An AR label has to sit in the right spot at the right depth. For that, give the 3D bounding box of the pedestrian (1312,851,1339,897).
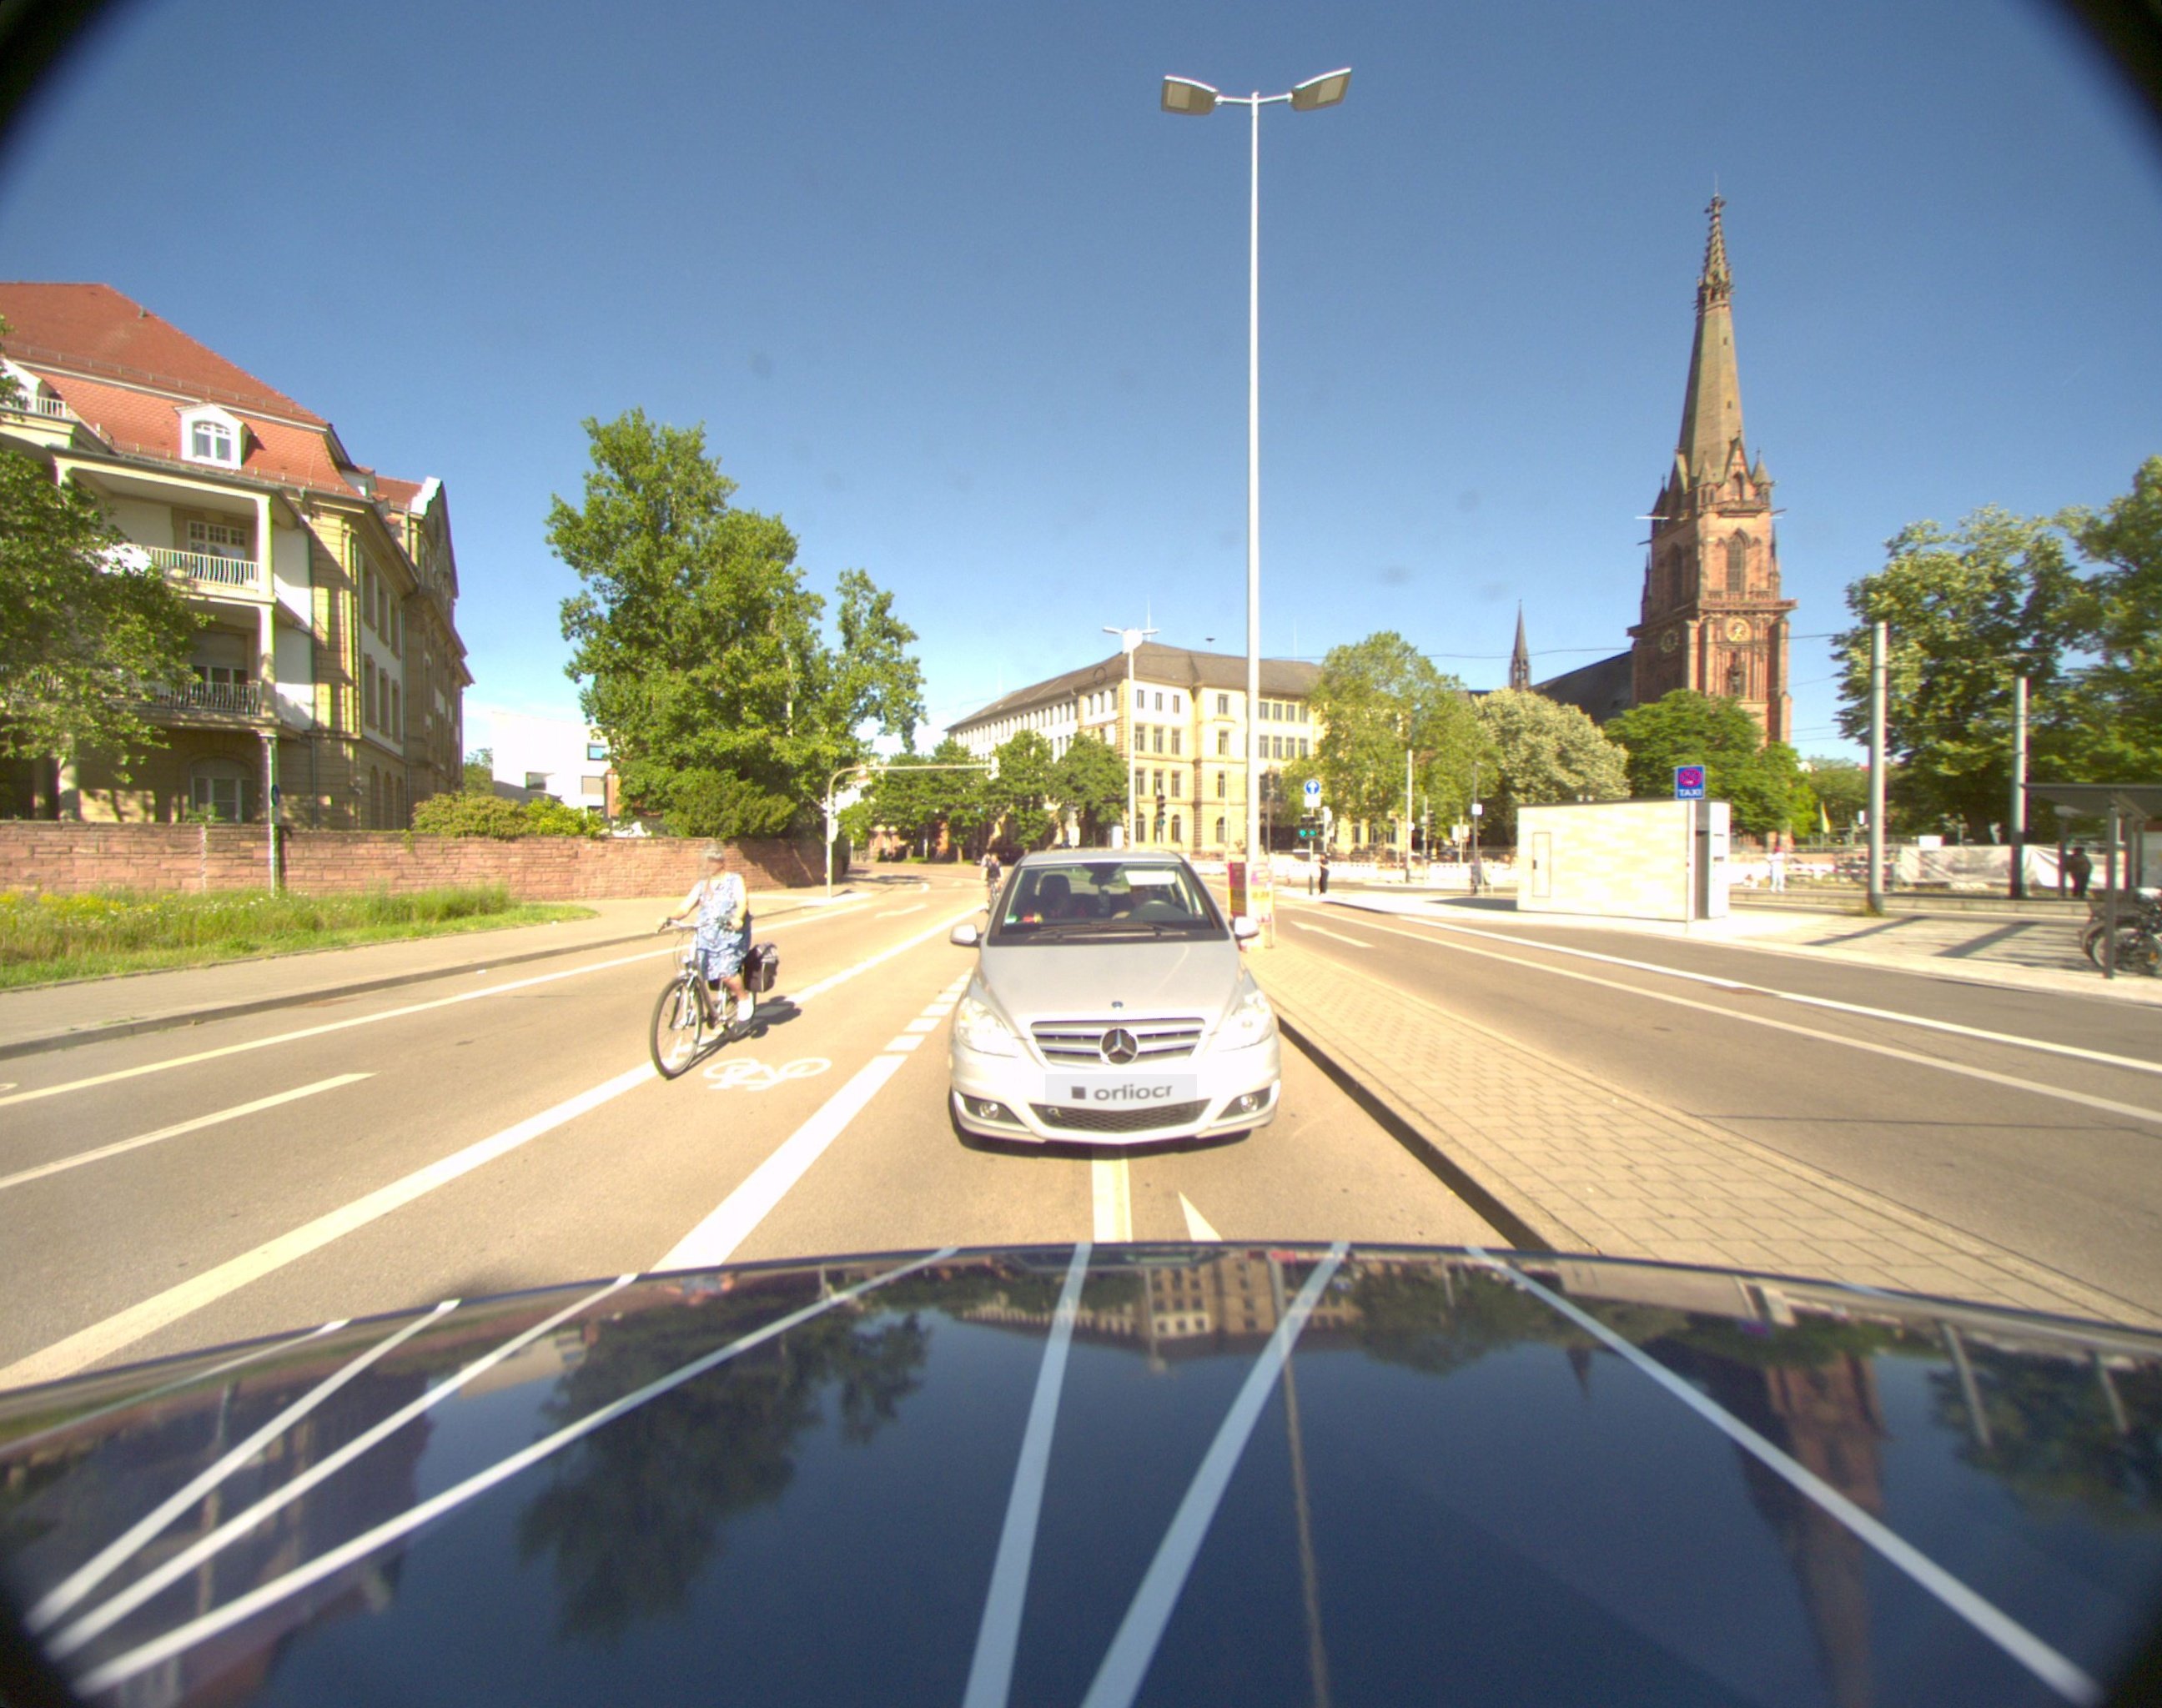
[{"bbox_3d":[9.280,0.756,28.871,0.789,1.671,0.648,-2,1,2],"label":"pedestrian"}]

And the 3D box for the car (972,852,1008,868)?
[{"bbox_3d":[-10.811,0.725,90.485,1.994,1.805,3.809,1,1,44],"label":"car"}]

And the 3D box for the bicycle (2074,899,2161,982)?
[{"bbox_3d":[14.543,1.171,9.980,0.569,1.032,1.783,1,1,-37],"label":"bicycle"}]

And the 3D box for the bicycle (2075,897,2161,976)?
[{"bbox_3d":[15.147,1.165,10.438,0.569,1.032,1.783,1,1,-37],"label":"bicycle"}]

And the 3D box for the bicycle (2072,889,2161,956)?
[{"bbox_3d":[17.694,1.143,12.421,0.569,1.032,1.783,1,1,-37],"label":"bicycle"}]

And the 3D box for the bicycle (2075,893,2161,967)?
[{"bbox_3d":[16.198,1.153,11.243,0.569,1.032,1.783,1,1,-37],"label":"bicycle"}]

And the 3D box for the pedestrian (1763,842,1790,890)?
[{"bbox_3d":[25.081,0.439,27.400,0.537,1.712,0.684,-1,-4,31],"label":"pedestrian"}]

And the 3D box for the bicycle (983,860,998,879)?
[{"bbox_3d":[-5.856,0.980,49.137,0.778,1.158,1.967,-1,1,-2],"label":"bicycle"}]

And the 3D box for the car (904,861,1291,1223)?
[{"bbox_3d":[0.128,0.897,5.833,1.770,1.584,4.638,-1,1,1],"label":"car"}]

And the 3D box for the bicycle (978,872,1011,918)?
[{"bbox_3d":[-2.357,1.086,20.774,0.642,1.158,1.870,-1,0,1],"label":"bicycle"}]

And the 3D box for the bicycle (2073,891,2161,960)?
[{"bbox_3d":[17.169,1.153,12.009,0.569,1.032,1.783,1,1,-37],"label":"bicycle"}]

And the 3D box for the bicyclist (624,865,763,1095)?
[{"bbox_3d":[-2.983,0.924,5.923,0.643,1.653,0.776,-1,2,0],"label":"bicyclist"}]

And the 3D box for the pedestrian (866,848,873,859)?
[{"bbox_3d":[-30.373,-0.105,108.923,0.637,1.602,0.844,-3,1,-36],"label":"pedestrian"}]

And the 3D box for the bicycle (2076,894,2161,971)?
[{"bbox_3d":[15.701,1.153,10.851,0.569,1.032,1.783,1,1,-37],"label":"bicycle"}]

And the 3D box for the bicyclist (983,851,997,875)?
[{"bbox_3d":[-5.856,0.577,49.102,0.778,1.543,0.919,-1,1,-2],"label":"bicyclist"}]

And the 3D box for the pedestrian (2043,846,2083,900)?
[{"bbox_3d":[30.552,0.586,23.645,0.567,1.645,0.518,-2,1,1],"label":"pedestrian"}]

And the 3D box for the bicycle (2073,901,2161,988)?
[{"bbox_3d":[14.019,1.181,9.589,0.569,1.032,1.783,1,1,-37],"label":"bicycle"}]

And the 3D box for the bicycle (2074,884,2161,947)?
[{"bbox_3d":[19.136,1.108,13.494,0.569,1.032,1.783,1,1,-37],"label":"bicycle"}]

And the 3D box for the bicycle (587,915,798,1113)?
[{"bbox_3d":[-2.983,1.161,6.107,0.642,1.158,1.968,-1,1,1],"label":"bicycle"}]

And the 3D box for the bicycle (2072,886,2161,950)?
[{"bbox_3d":[18.651,1.120,13.149,0.569,1.032,1.783,1,1,-37],"label":"bicycle"}]

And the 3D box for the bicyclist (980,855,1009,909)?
[{"bbox_3d":[-2.355,0.744,20.743,0.643,1.436,0.953,-1,0,1],"label":"bicyclist"}]

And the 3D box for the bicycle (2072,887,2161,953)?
[{"bbox_3d":[18.167,1.130,12.787,0.569,1.032,1.783,1,1,-37],"label":"bicycle"}]
